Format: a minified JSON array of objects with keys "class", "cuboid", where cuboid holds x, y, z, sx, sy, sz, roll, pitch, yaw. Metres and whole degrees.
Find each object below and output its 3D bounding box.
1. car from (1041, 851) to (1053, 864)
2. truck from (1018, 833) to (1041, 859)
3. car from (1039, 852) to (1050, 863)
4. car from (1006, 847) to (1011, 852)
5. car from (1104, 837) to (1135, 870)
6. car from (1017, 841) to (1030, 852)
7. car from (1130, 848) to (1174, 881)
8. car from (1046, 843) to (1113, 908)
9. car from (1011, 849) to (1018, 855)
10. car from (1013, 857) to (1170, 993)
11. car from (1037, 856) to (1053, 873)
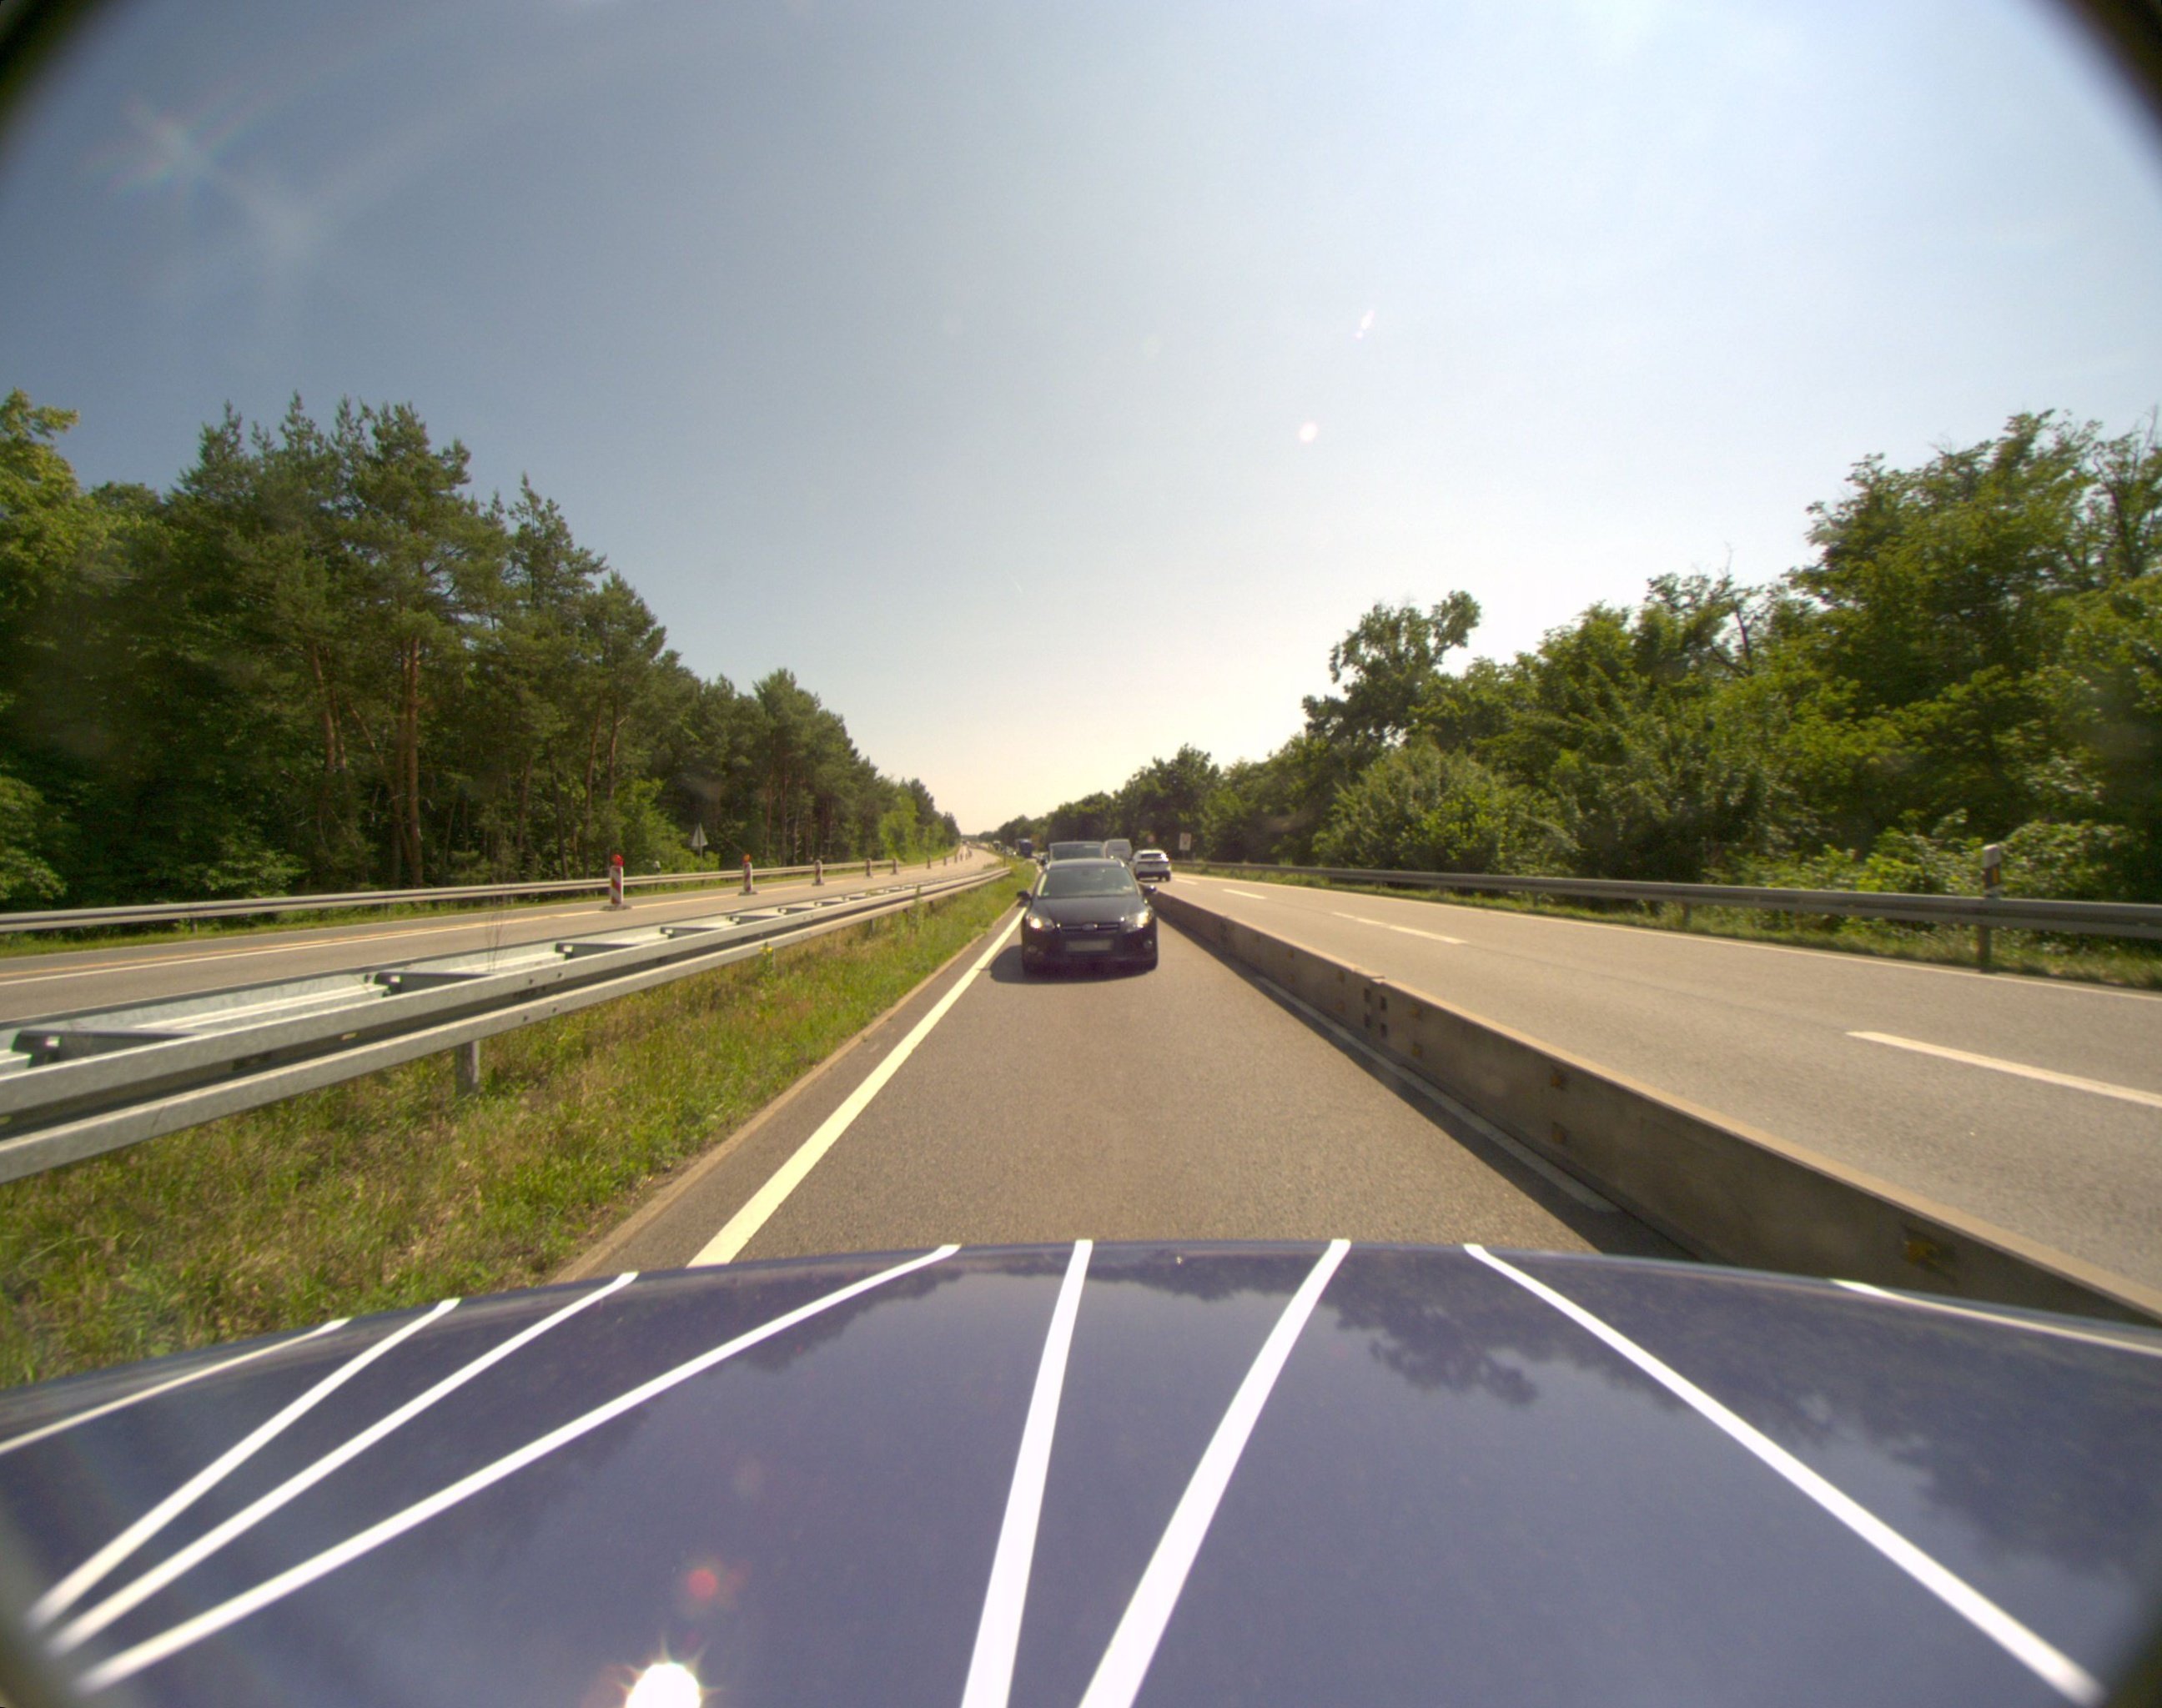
[{"class":"car","cuboid":[-4.308,0.415,96.495,1.527,1.647,3.979,-1,0,-3]},{"class":"truck","cuboid":[-10.981,-1.704,161.134,3.832,5.266,11.237,-1,0,-8]},{"class":"car","cuboid":[-5.534,0.477,114.744,1.527,1.647,3.753,0,0,-3]},{"class":"car","cuboid":[-23.027,-1.500,241.006,1.528,1.647,3.978,-1,0,-6]},{"class":"car","cuboid":[3.066,-0.040,62.133,2.067,2.471,5.559,-2,0,-1]},{"class":"car","cuboid":[-9.521,-1.168,126.110,1.999,1.773,3.999,-1,0,-3]},{"class":"car","cuboid":[3.701,0.517,40.158,1.853,1.592,4.321,-1,1,0]},{"class":"car","cuboid":[-0.150,0.624,25.161,1.960,1.901,4.934,-1,0,-3]},{"class":"car","cuboid":[-17.712,-0.442,202.760,1.527,1.647,3.979,-1,0,-3]},{"class":"car","cuboid":[0.012,0.861,11.592,1.847,1.537,4.934,-2,0,-3]},{"class":"car","cuboid":[-3.642,1.033,77.533,1.527,1.647,3.979,-1,0,-3]}]
